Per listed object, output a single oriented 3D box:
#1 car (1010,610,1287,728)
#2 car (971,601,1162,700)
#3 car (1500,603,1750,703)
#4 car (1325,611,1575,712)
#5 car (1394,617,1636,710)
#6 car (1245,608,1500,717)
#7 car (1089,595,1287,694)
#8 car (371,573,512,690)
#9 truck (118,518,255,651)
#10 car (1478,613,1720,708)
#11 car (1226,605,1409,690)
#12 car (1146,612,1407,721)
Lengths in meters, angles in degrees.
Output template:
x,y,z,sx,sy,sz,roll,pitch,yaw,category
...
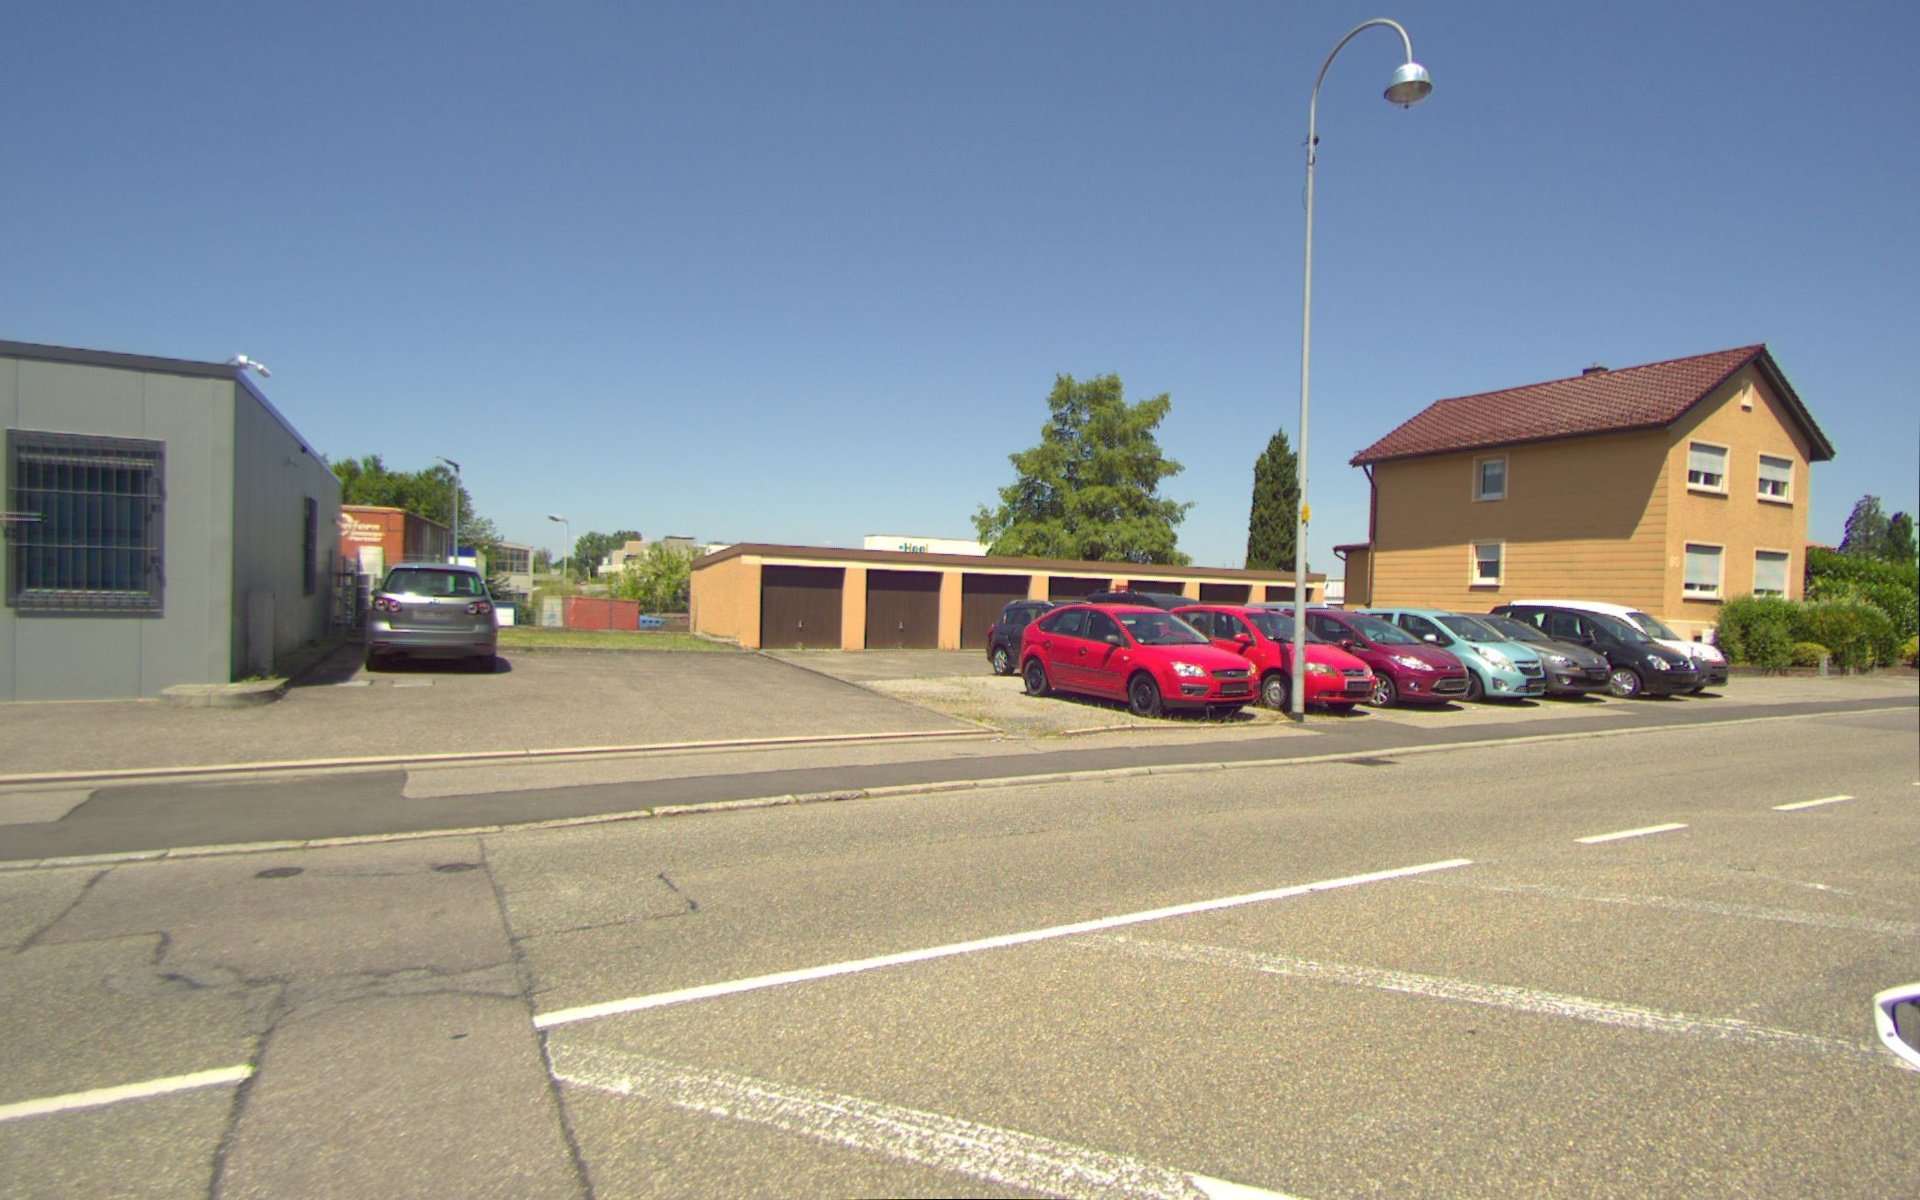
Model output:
x,y,z,sx,sy,sz,roll,pitch,yaw,category
2.619,0.906,14.912,1.805,1.463,4.106,2,-1,-30,car
1.979,0.912,19.658,1.871,1.732,3.644,2,-1,-32,car
14.234,1.059,21.703,1.979,1.923,4.068,2,-1,-34,car
8.803,1.032,18.307,1.901,1.602,3.644,2,-1,-31,car
10.584,1.143,19.387,1.901,1.552,3.644,2,-1,-31,car
6.902,0.973,17.136,1.861,1.626,3.644,2,-1,-31,car
4.581,0.849,20.668,1.838,1.829,3.828,2,-1,-31,car
-8.139,0.461,15.908,1.731,1.605,3.973,2,-1,-26,car
-23.006,-0.379,30.224,2.130,3.471,7.833,2,-1,-30,truck
12.712,1.135,20.181,1.901,1.694,3.644,2,-1,-31,car
8.269,1.050,23.471,1.901,1.799,3.644,2,-1,-31,car
4.900,0.969,15.992,1.871,1.477,3.644,2,-1,-31,car
